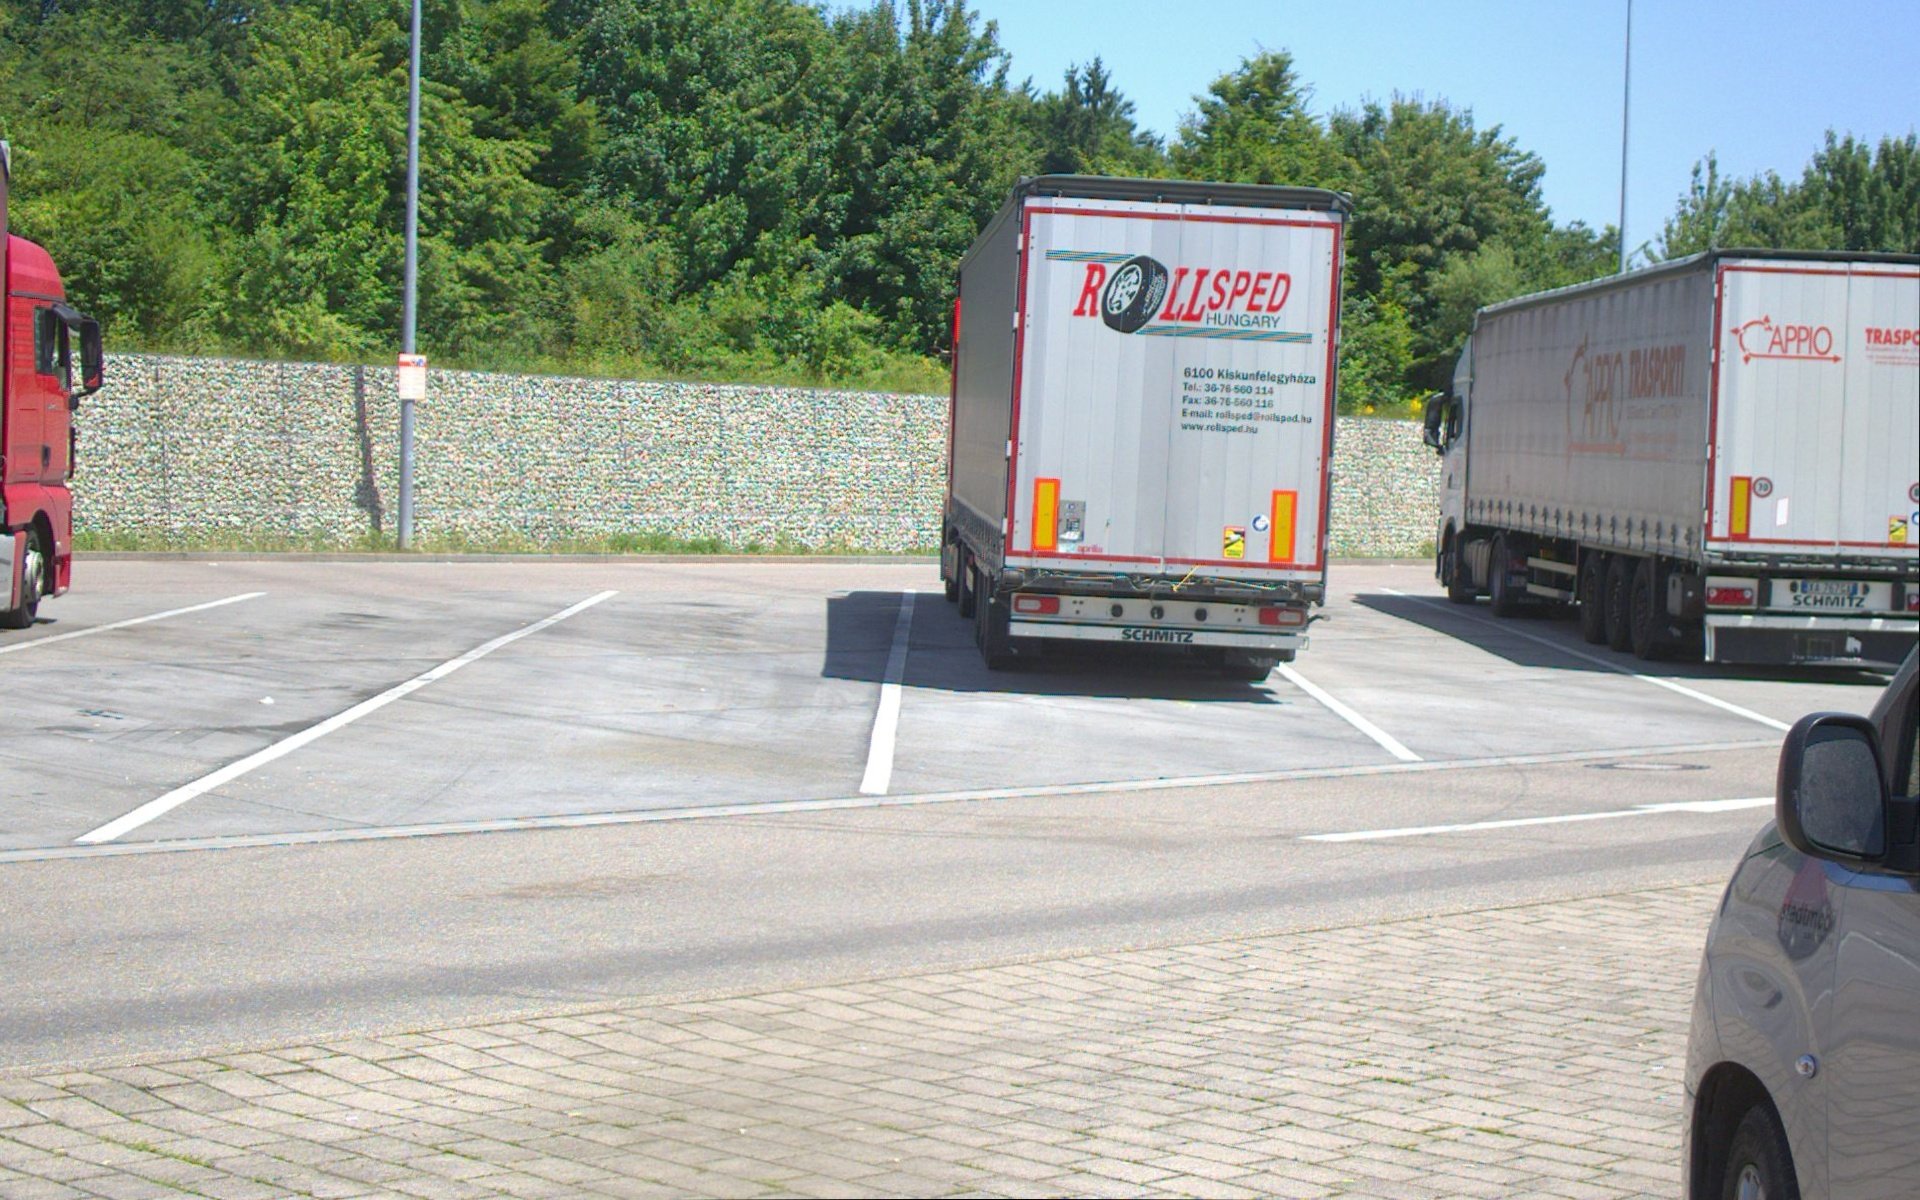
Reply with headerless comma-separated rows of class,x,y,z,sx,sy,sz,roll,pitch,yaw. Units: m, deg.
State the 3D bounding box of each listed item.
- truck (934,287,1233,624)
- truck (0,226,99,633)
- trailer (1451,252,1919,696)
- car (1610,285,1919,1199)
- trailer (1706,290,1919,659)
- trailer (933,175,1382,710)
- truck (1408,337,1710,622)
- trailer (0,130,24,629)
truck,1.319,-1.731,40.497,3.103,3.554,5.900,2,3,-1
truck,-9.232,-1.442,28.130,2.851,3.316,5.900,2,3,-1
trailer,8.122,-1.518,38.716,2.811,3.976,14.396,2,3,-1
car,2.152,0.587,3.836,1.869,1.857,4.177,2,2,-2
trailer,11.763,-1.450,39.768,2.811,3.976,14.396,2,3,-1
trailer,1.454,-1.590,33.605,3.133,3.976,14.397,2,3,-1
truck,8.030,-1.694,46.816,2.862,3.509,5.900,2,3,-1
trailer,-9.189,-1.487,21.556,2.791,4.071,14.133,2,3,-1
